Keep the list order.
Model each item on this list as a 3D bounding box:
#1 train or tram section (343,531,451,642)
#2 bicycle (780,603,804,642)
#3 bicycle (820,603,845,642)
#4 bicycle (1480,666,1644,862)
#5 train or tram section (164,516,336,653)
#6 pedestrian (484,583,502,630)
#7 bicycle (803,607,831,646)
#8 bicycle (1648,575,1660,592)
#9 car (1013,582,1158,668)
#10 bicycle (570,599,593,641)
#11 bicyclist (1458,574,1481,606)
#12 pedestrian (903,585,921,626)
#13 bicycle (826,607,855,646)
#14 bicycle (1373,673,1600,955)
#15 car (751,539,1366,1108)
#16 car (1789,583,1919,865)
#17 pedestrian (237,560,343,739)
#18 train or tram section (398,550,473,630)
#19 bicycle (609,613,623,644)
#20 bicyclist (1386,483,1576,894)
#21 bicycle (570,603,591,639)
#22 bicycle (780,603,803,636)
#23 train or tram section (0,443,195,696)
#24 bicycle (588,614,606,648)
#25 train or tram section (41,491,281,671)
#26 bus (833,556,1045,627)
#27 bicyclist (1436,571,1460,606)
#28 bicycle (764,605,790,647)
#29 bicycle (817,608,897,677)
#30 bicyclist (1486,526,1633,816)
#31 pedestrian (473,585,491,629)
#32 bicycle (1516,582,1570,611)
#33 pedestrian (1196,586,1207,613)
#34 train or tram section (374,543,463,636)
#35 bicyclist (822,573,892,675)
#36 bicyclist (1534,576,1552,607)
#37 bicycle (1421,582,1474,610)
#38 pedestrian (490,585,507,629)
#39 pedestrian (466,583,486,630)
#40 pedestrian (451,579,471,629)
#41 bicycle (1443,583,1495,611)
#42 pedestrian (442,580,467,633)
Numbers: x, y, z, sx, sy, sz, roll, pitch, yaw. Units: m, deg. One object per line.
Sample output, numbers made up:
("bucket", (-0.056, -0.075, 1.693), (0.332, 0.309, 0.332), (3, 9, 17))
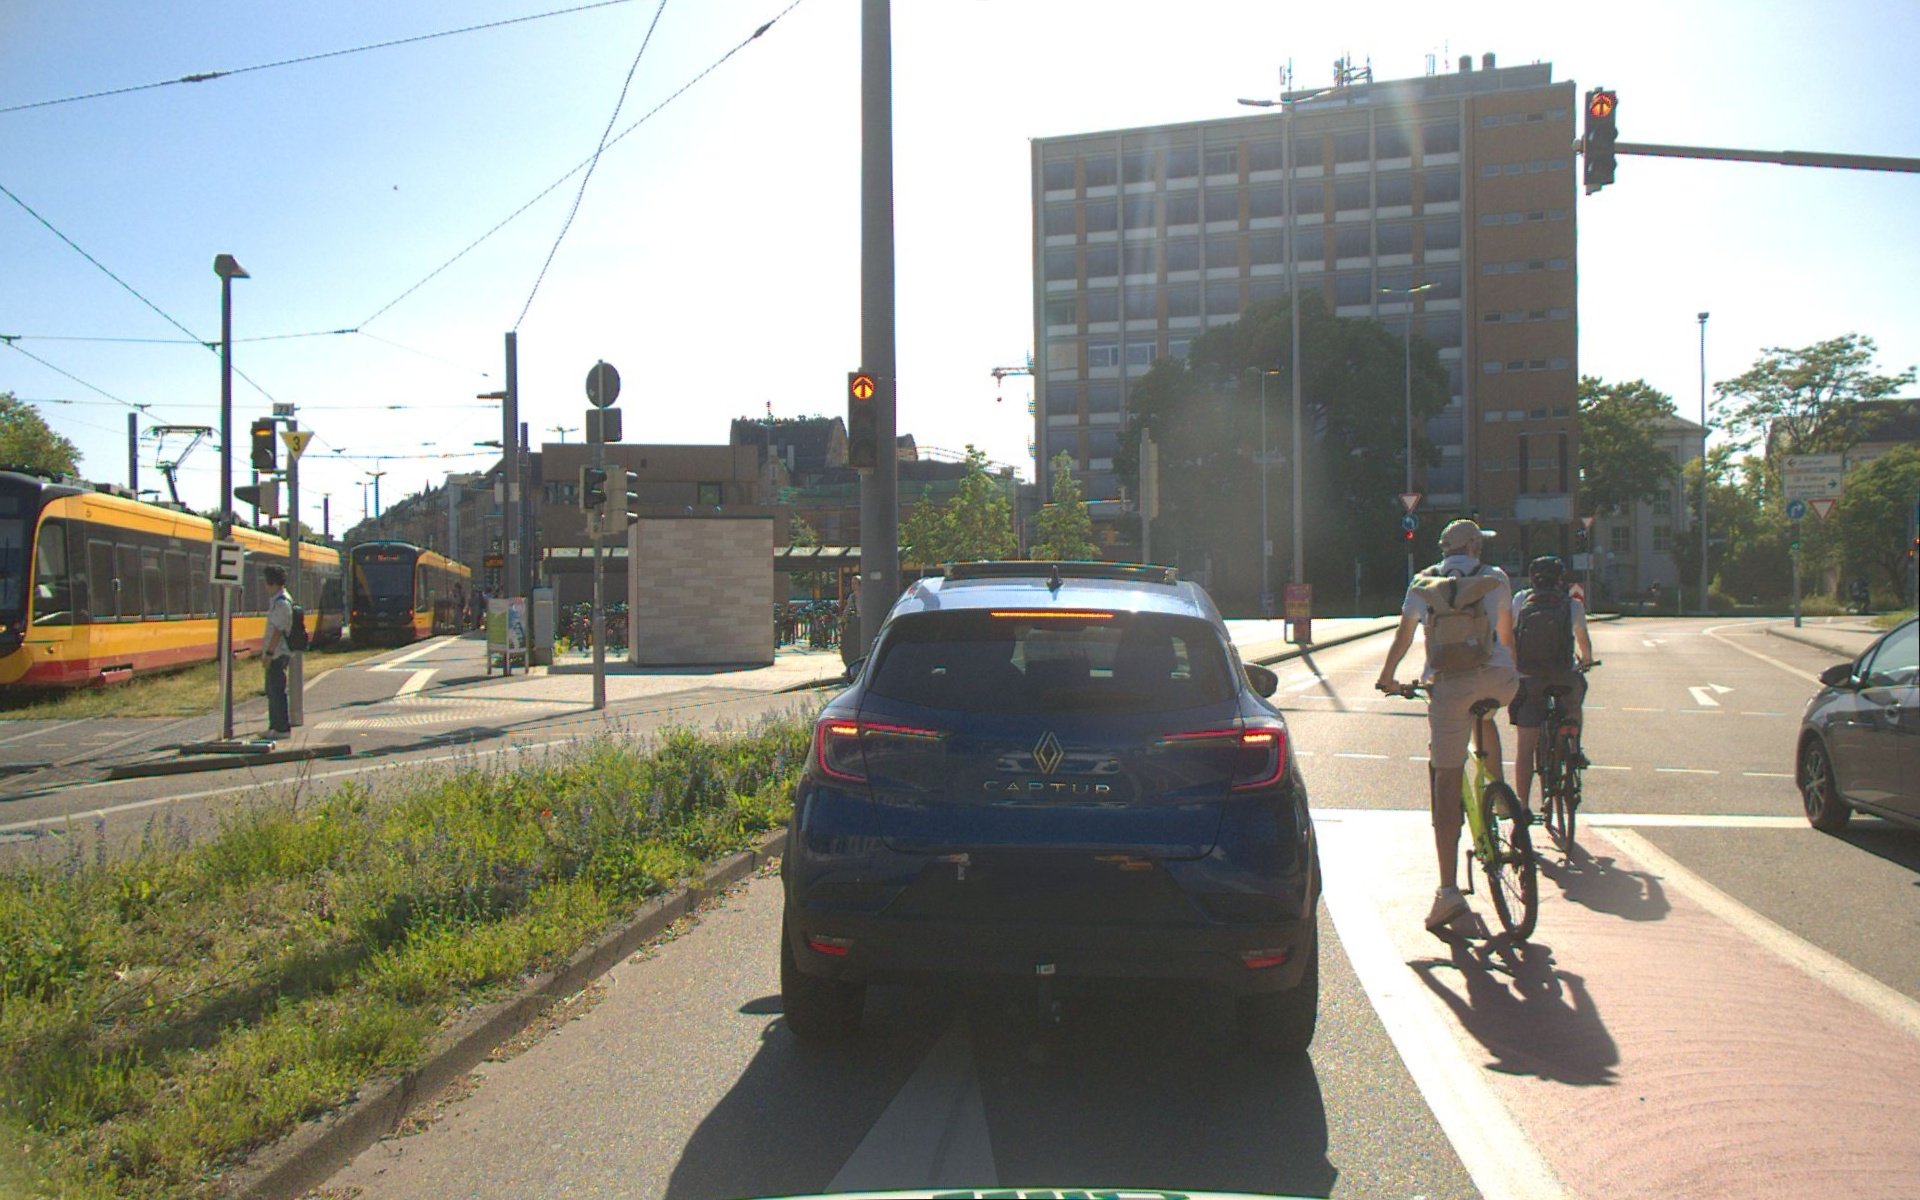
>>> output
("train or tram section", (-19.841, -0.430, 58.833), (2.823, 3.569, 10.502), (0, 0, -14))
("bicycle", (-4.944, 0.656, 48.610), (0.570, 1.107, 2.054), (1, -1, -9))
("bicycle", (-3.759, 0.665, 48.699), (0.570, 1.107, 2.054), (1, -1, -9))
("bicycle", (3.619, 0.941, 10.081), (0.707, 0.976, 1.885), (1, 0, 13))
("train or tram section", (-20.662, -0.402, 48.832), (2.768, 3.569, 11.170), (0, 0, -14))
("pedestrian", (-18.702, 0.270, 66.226), (0.623, 1.889, 0.699), (1, -1, -20))
("bicycle", (-3.712, 0.682, 42.969), (0.570, 0.978, 2.054), (1, -1, -9))
("bicycle", (47.540, -1.119, 113.306), (0.597, 1.112, 1.669), (-1, 0, 29))
("car", (2.366, 0.412, 30.280), (1.762, 1.417, 4.095), (-1, 1, 17))
("bicycle", (-10.462, 0.558, 45.743), (0.556, 1.112, 2.023), (1, -1, -11))
("bicyclist", (28.997, -0.575, 94.143), (1.134, 1.829, 0.883), (0, -1, 24))
("pedestrian", (-2.283, 0.264, 78.609), (0.710, 1.889, 0.703), (0, -1, 8))
("bicycle", (-3.113, 0.688, 43.065), (0.570, 0.978, 2.054), (1, -1, -9))
("bicycle", (2.406, 0.922, 7.768), (0.648, 1.065, 1.891), (0, 0, 6))
("car", (0.434, 0.636, 6.682), (1.785, 1.628, 3.661), (1, 0, 5))
("car", (6.237, 0.688, 9.381), (1.718, 1.568, 3.662), (0, 0, 9))
("pedestrian", (-7.216, 0.527, 17.802), (1.003, 1.864, 0.754), (1, -1, -25))
("train or tram section", (-24.977, -0.461, 79.150), (2.823, 3.569, 10.503), (0, 0, -14))
("bicycle", (-10.924, 0.896, 52.476), (0.414, 0.954, 1.375), (1, 0, -12))
("bicyclist", (2.391, 0.380, 7.683), (0.649, 1.778, 1.006), (0, 0, 6))
("bicycle", (-11.924, 0.656, 52.029), (0.556, 1.112, 2.023), (1, -1, -11))
("bicycle", (-5.714, 0.656, 56.072), (0.570, 1.107, 1.866), (1, -1, -11))
("train or tram section", (-15.557, -0.416, 28.138), (2.771, 3.569, 10.437), (-1, 0, -15))
("bicycle", (-10.420, 0.890, 47.462), (0.415, 0.954, 1.300), (1, 0, -15))
("train or tram section", (-18.099, -0.378, 38.292), (2.768, 3.569, 10.573), (0, 0, -14))
("bus", (-1.273, -0.366, 86.722), (12.212, 3.455, 2.867), (0, -1, 40))
("bicyclist", (27.250, -0.621, 92.349), (1.183, 1.930, 0.883), (0, -1, 24))
("bicycle", (-4.706, 0.669, 42.579), (0.570, 1.076, 1.812), (1, -1, -9))
("bicycle", (-1.718, 0.698, 27.935), (0.756, 1.099, 2.037), (-1, 0, 13))
("bicyclist", (3.616, 0.397, 10.047), (0.706, 1.654, 1.056), (1, 0, 13))
("pedestrian", (-20.638, 0.295, 71.389), (0.620, 1.889, 0.701), (1, -1, -9))
("bicycle", (32.419, -0.192, 91.994), (2.746, 1.568, 0.883), (0, -1, 25))
("pedestrian", (15.272, -0.043, 104.740), (0.551, 1.699, 0.474), (-1, -2, 36))
("train or tram section", (-22.426, -0.414, 68.966), (2.823, 3.569, 10.502), (0, 0, -14))
("bicyclist", (-1.734, 0.399, 27.971), (0.861, 1.673, 1.061), (-1, -1, 13))
("bicyclist", (32.421, -0.458, 91.988), (0.841, 1.721, 0.884), (0, -1, 24))
("bicycle", (27.243, -0.219, 92.357), (2.746, 1.568, 0.883), (0, -1, 25))
("pedestrian", (-19.791, 0.293, 70.917), (0.621, 1.889, 0.701), (1, -1, -11))
("pedestrian", (-19.640, 0.279, 67.075), (0.661, 1.889, 0.701), (1, -1, -9))
("pedestrian", (-19.672, 0.159, 65.240), (0.727, 1.951, 0.739), (1, -1, -16))
("bicycle", (28.992, -0.178, 94.142), (2.746, 1.568, 0.883), (0, -1, 25))
("pedestrian", (-18.356, 0.250, 60.086), (0.833, 1.916, 0.757), (1, -1, -16))
